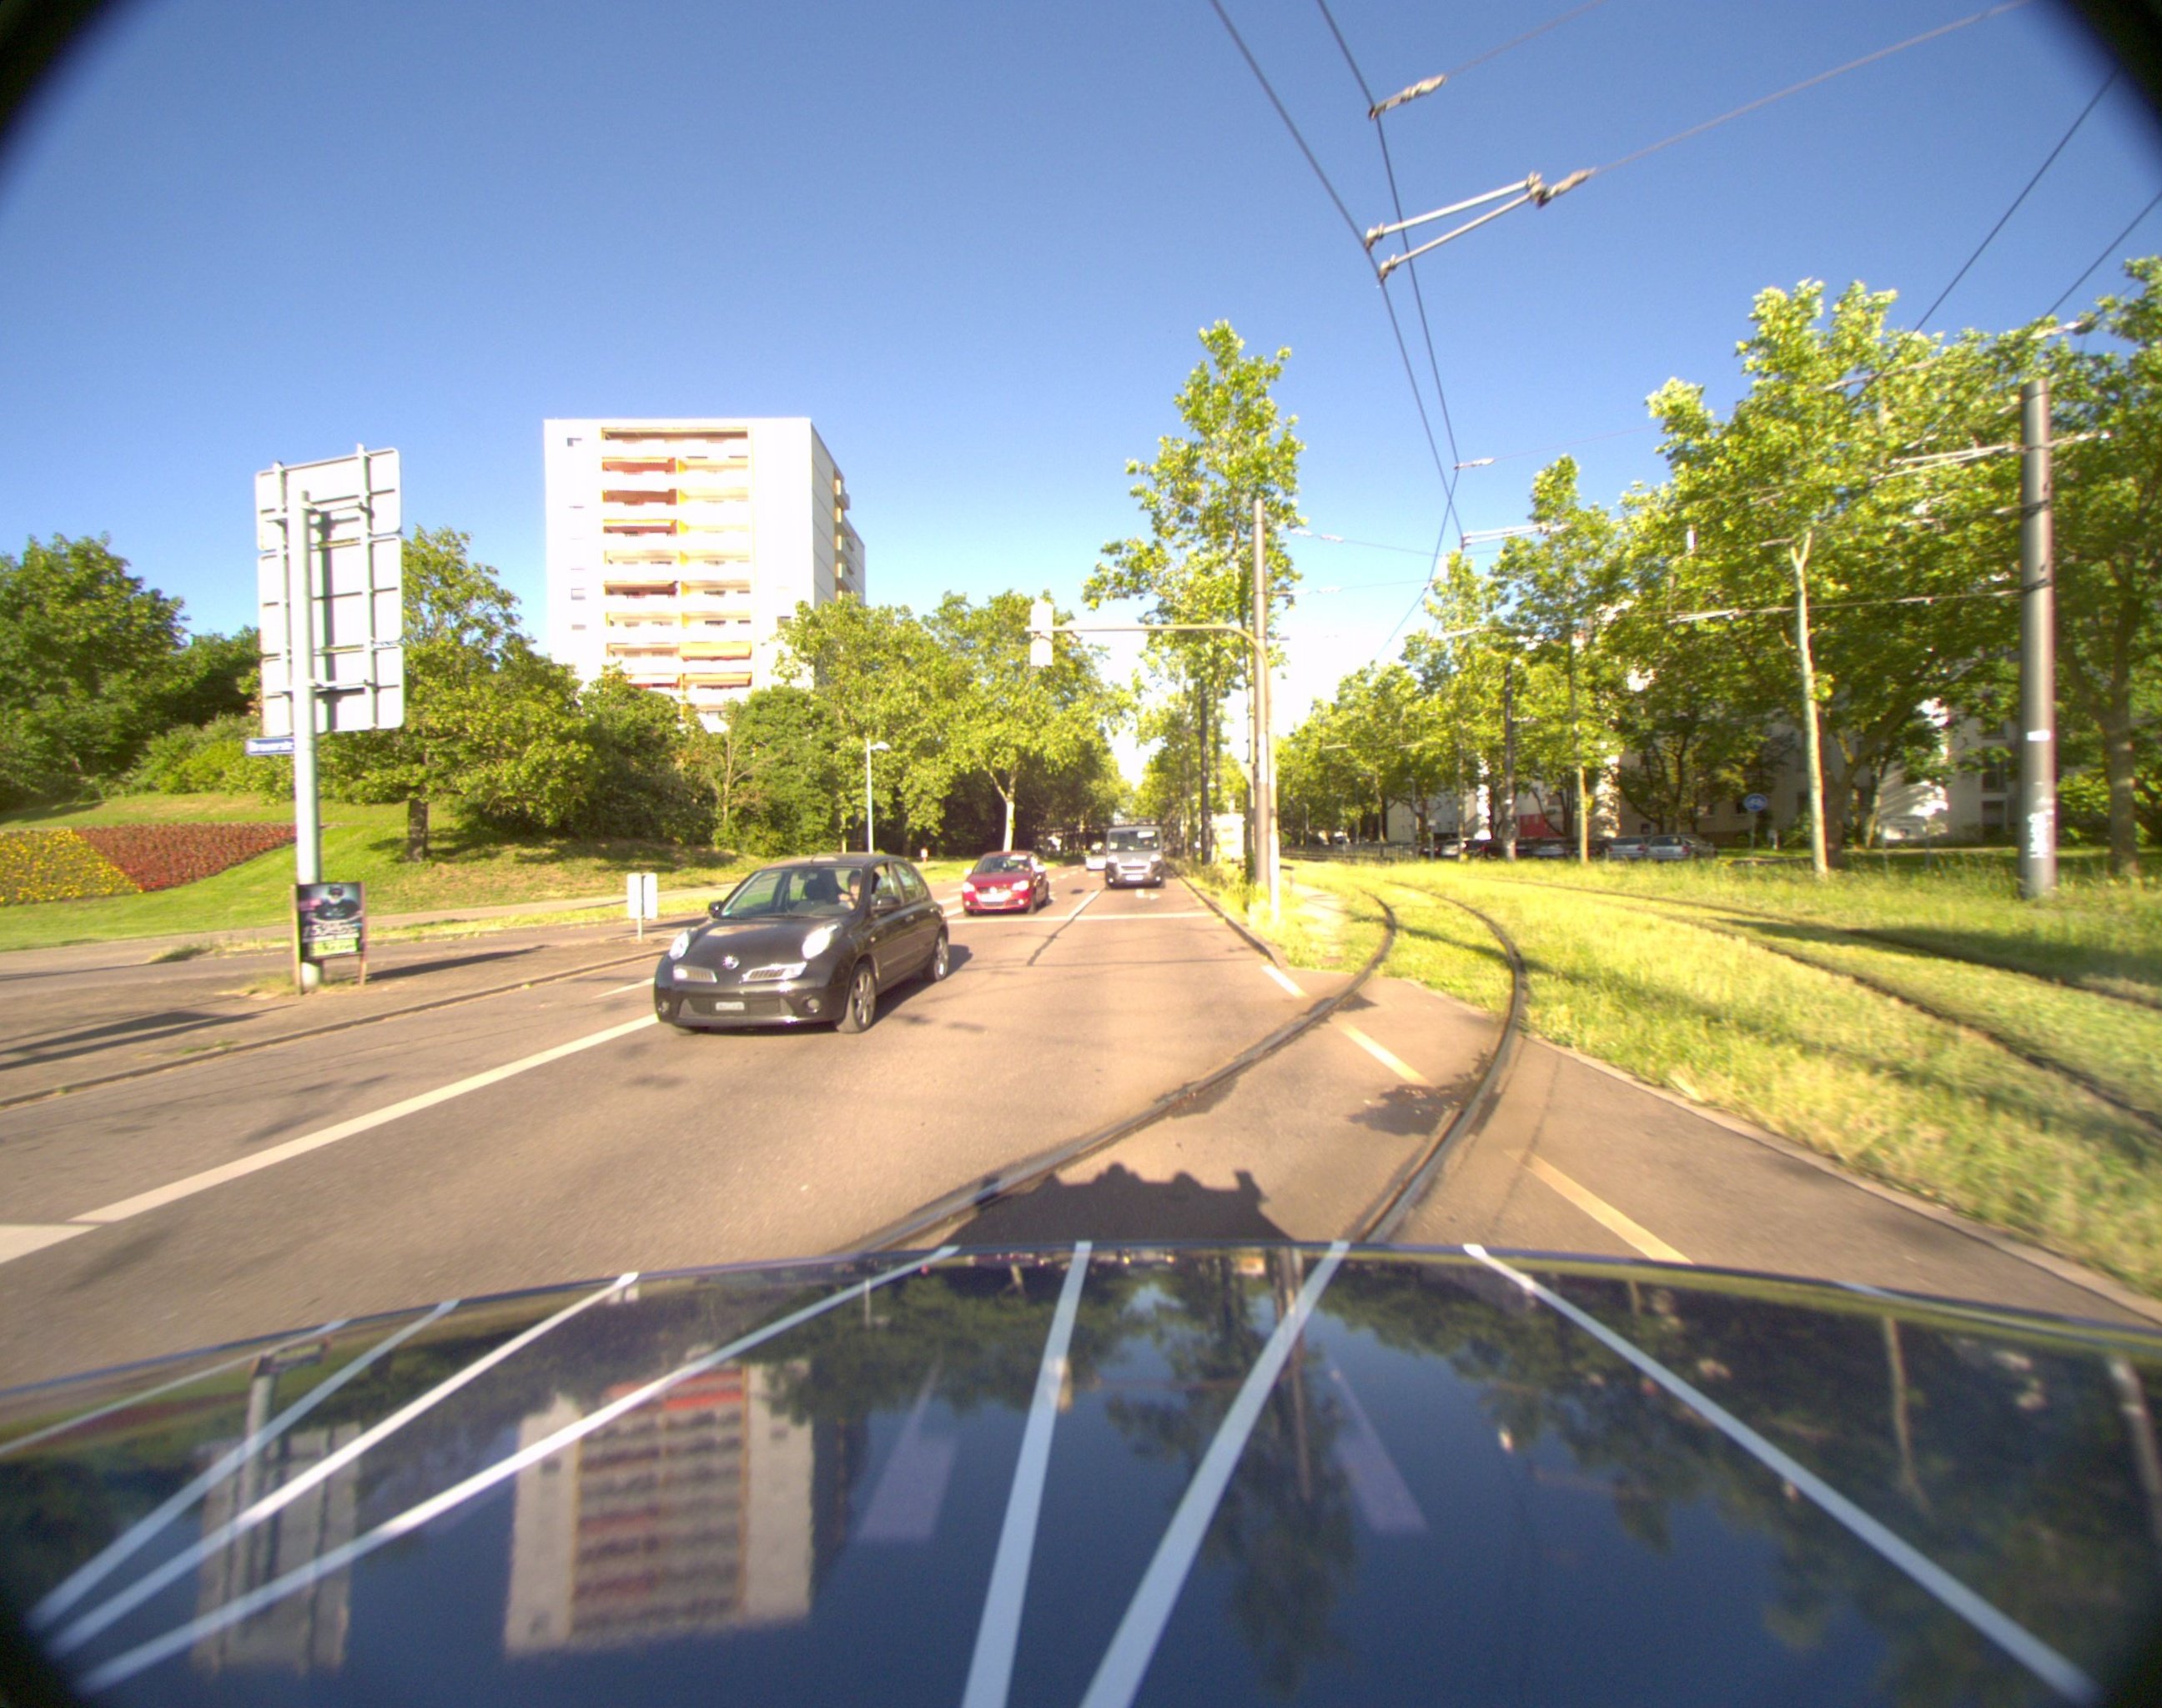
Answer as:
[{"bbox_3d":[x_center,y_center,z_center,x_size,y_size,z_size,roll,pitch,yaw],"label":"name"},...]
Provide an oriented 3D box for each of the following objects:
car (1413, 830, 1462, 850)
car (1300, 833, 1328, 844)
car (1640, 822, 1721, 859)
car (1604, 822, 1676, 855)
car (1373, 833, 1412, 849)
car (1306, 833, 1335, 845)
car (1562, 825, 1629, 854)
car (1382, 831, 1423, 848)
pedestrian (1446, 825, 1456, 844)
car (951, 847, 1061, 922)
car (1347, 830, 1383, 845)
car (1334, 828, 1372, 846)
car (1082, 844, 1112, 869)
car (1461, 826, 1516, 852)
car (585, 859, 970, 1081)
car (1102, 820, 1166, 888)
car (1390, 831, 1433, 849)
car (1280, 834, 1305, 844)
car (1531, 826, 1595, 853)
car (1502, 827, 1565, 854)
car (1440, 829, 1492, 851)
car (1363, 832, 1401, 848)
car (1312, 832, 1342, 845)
[{"bbox_3d":[28.953,-1.150,61.639,4.056,1.490,1.791,-3,1,-35],"label":"car"},{"bbox_3d":[33.839,-2.235,110.238,4.056,1.490,1.791,-3,1,-38],"label":"car"},{"bbox_3d":[26.861,-0.627,34.002,4.056,1.478,1.810,-3,1,-37],"label":"car"},{"bbox_3d":[27.757,-0.770,37.675,4.056,1.478,1.760,-3,1,-37],"label":"car"},{"bbox_3d":[31.101,-1.319,75.910,4.056,1.490,1.791,-3,1,-38],"label":"car"},{"bbox_3d":[32.703,-2.087,103.632,4.056,1.490,1.791,-3,1,-38],"label":"car"},{"bbox_3d":[27.517,-0.802,40.600,4.056,1.380,1.673,-3,1,-37],"label":"car"},{"bbox_3d":[30.771,-1.418,72.724,4.056,1.490,1.791,-3,1,-38],"label":"car"},{"bbox_3d":[39.346,-2.043,80.742,0.680,2.002,0.645,-2,2,1],"label":"pedestrian"},{"bbox_3d":[-1.675,0.647,18.690,1.771,1.549,4.727,-2,1,5],"label":"car"},{"bbox_3d":[31.816,-1.862,85.105,4.056,1.490,1.791,-3,1,-38],"label":"car"},{"bbox_3d":[31.552,-1.994,88.004,4.440,1.908,2.016,-3,1,-38],"label":"car"},{"bbox_3d":[1.026,0.120,51.806,1.913,1.549,4.725,-2,1,0],"label":"car"},{"bbox_3d":[29.093,-1.095,54.233,4.056,1.654,1.791,-3,1,-35],"label":"car"},{"bbox_3d":[-2.523,0.854,7.749,1.739,1.474,4.623,-2,1,4],"label":"car"},{"bbox_3d":[1.933,-0.070,27.793,2.039,2.192,5.662,-2,1,4],"label":"car"},{"bbox_3d":[30.031,-1.253,68.947,4.056,1.490,1.791,-3,1,-38],"label":"car"},{"bbox_3d":[33.592,-2.350,120.595,4.056,1.490,1.791,-3,1,-38],"label":"car"},{"bbox_3d":[27.950,-0.840,44.041,4.056,1.380,1.791,-3,1,-37],"label":"car"},{"bbox_3d":[28.108,-0.861,47.158,4.056,1.490,1.791,-3,1,-35],"label":"car"},{"bbox_3d":[29.267,-1.077,57.735,4.056,1.490,1.791,-3,1,-35],"label":"car"},{"bbox_3d":[31.168,-1.500,78.659,4.056,1.490,1.791,-3,1,-38],"label":"car"},{"bbox_3d":[32.436,-2.029,100.265,4.056,1.490,1.791,-3,1,-38],"label":"car"}]
